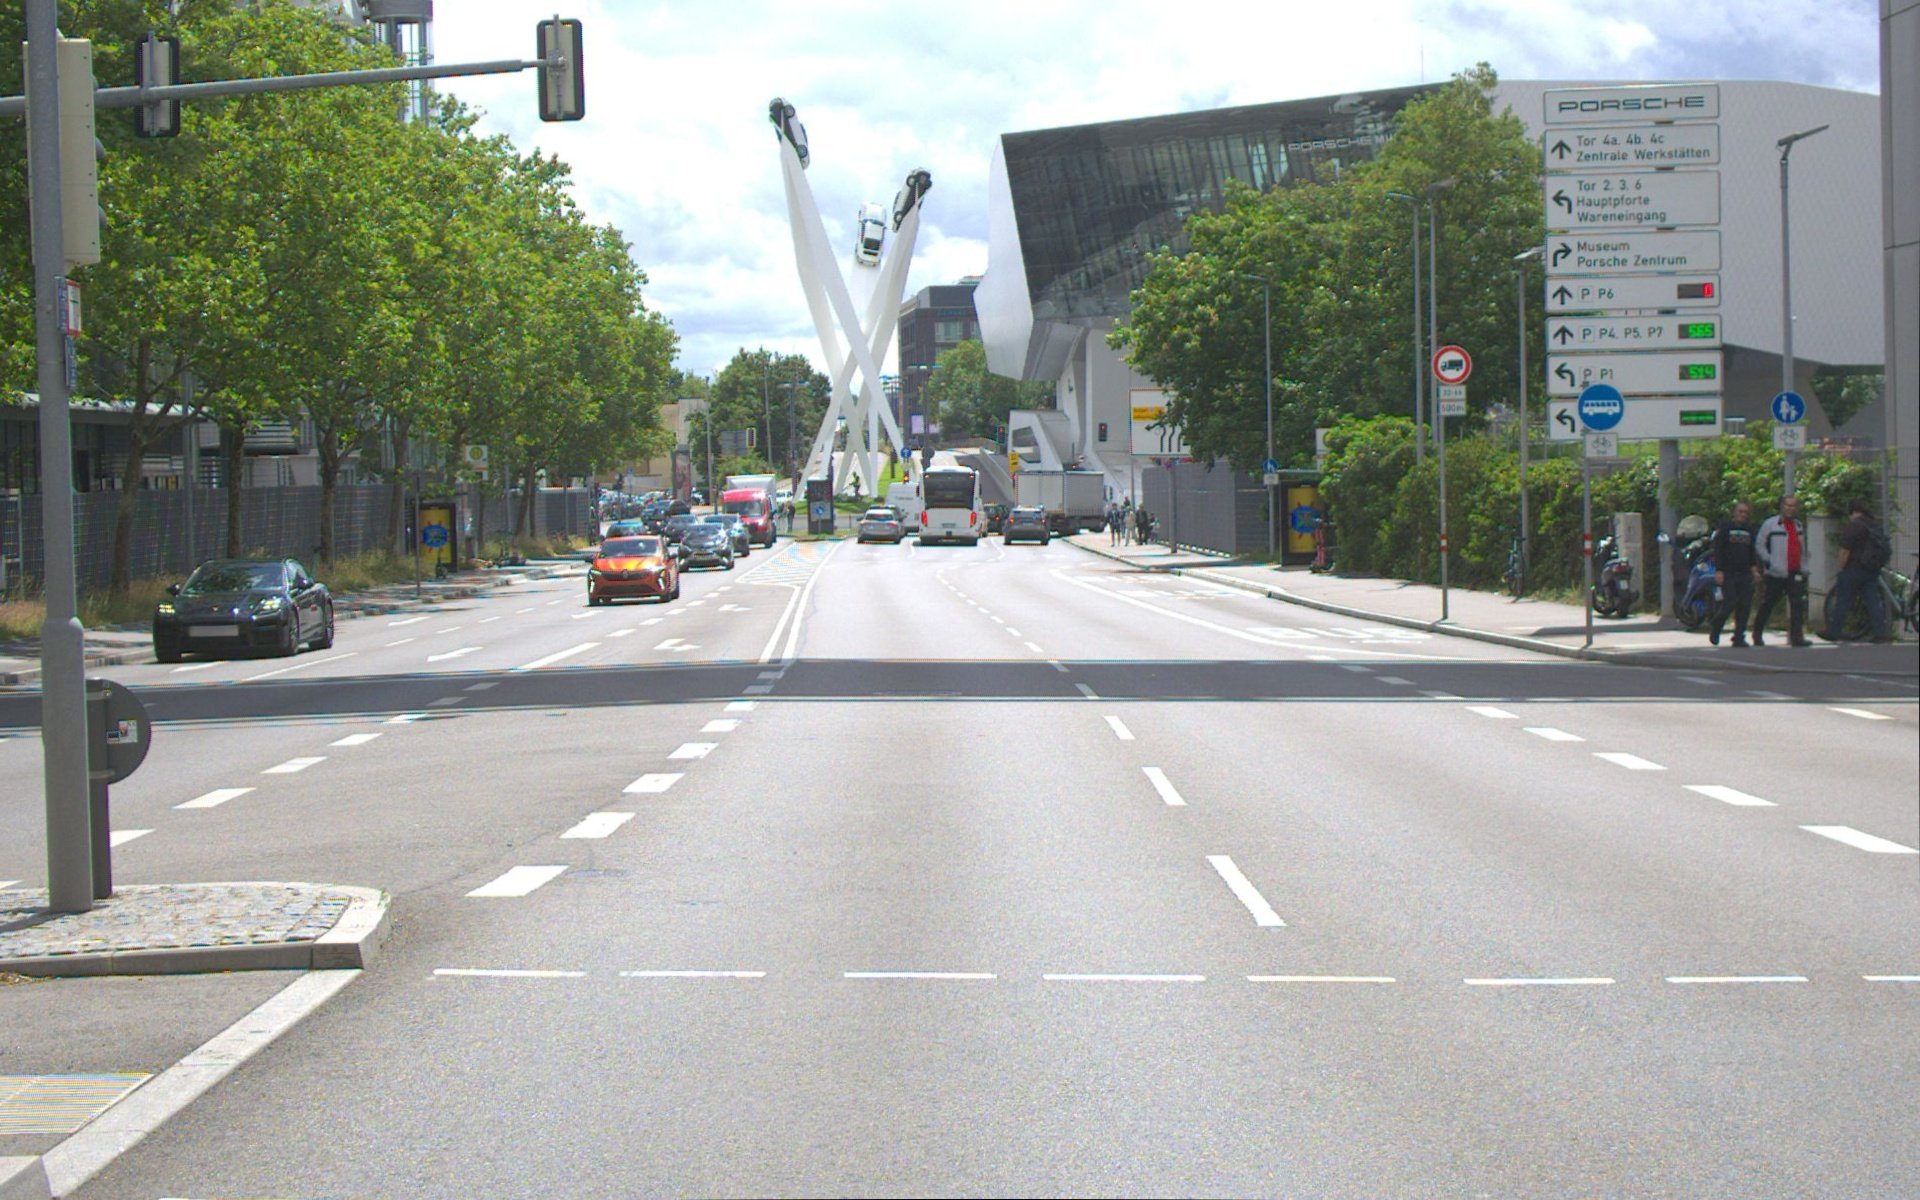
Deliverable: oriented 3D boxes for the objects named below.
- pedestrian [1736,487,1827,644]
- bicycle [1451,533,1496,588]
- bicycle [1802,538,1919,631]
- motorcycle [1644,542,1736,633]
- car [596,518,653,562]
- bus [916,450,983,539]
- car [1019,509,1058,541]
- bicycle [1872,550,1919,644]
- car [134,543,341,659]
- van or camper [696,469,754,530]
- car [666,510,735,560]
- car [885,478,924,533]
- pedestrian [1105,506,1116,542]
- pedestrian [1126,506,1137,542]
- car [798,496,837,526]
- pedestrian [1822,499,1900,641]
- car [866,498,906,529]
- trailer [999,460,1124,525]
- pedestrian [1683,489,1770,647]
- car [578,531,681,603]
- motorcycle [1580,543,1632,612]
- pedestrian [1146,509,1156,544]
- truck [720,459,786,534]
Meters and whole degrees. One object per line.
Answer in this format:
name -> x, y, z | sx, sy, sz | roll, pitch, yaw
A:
pedestrian -> 9.567, -0.405, 40.049 | 0.691, 1.787, 0.712 | -3, 1, -16
bicycle -> 9.741, -0.749, 65.256 | 0.418, 1.019, 1.913 | 1, 1, -5
bicycle -> 11.172, -0.179, 40.861 | 2.222, 1.083, 0.476 | 1, 1, 35
motorcycle -> 9.548, -0.169, 45.016 | 0.418, 1.162, 1.957 | 1, 1, -11
car -> -12.168, -2.174, 124.807 | 1.797, 1.568, 4.001 | 0, 1, -2
bus -> -0.425, -4.509, 148.306 | 2.787, 3.673, 6.943 | 1, 1, 0
car -> 3.321, -3.179, 146.237 | 1.557, 1.269, 3.701 | -3, 1, 1
bicycle -> 11.663, -0.022, 39.531 | 2.222, 1.083, 0.476 | 1, 1, 35
car -> -10.412, -0.023, 49.888 | 1.917, 1.483, 4.772 | -3, 1, 0
van or camper -> -9.766, -4.168, 143.178 | 2.047, 2.458, 5.595 | 0, 1, 0
car -> -8.008, -2.015, 106.195 | 1.769, 1.415, 3.701 | -3, 1, 0
car -> -2.769, -4.697, 171.182 | 1.843, 2.614, 4.000 | 1, 1, -2
pedestrian -> 6.022, -3.038, 137.778 | 0.386, 1.416, 0.423 | 1, 0, 0
pedestrian -> 6.838, -3.034, 136.830 | 0.386, 1.416, 0.423 | 1, 0, 0
car -> -6.449, -4.043, 155.723 | 1.557, 1.269, 3.701 | -3, 1, 0
pedestrian -> 10.446, -0.346, 39.869 | 0.533, 1.635, 0.658 | 1, 0, -33
car -> -3.196, -3.729, 148.686 | 1.557, 1.269, 3.701 | -3, 1, 1
trailer -> 5.175, -5.359, 172.131 | 3.322, 2.984, 10.366 | 1, 1, 19
pedestrian -> 8.896, -0.376, 39.902 | 0.641, 1.787, 0.712 | -3, 1, -16
car -> -7.069, -0.719, 73.810 | 1.769, 1.415, 3.701 | -3, 1, 0
motorcycle -> 9.768, -0.349, 51.999 | 0.457, 1.019, 1.912 | 1, 1, 1
pedestrian -> 7.634, -2.932, 137.399 | 0.386, 1.416, 0.423 | 1, 0, 0
truck -> -9.583, -4.776, 159.878 | 2.591, 3.312, 7.079 | 1, 1, 0
